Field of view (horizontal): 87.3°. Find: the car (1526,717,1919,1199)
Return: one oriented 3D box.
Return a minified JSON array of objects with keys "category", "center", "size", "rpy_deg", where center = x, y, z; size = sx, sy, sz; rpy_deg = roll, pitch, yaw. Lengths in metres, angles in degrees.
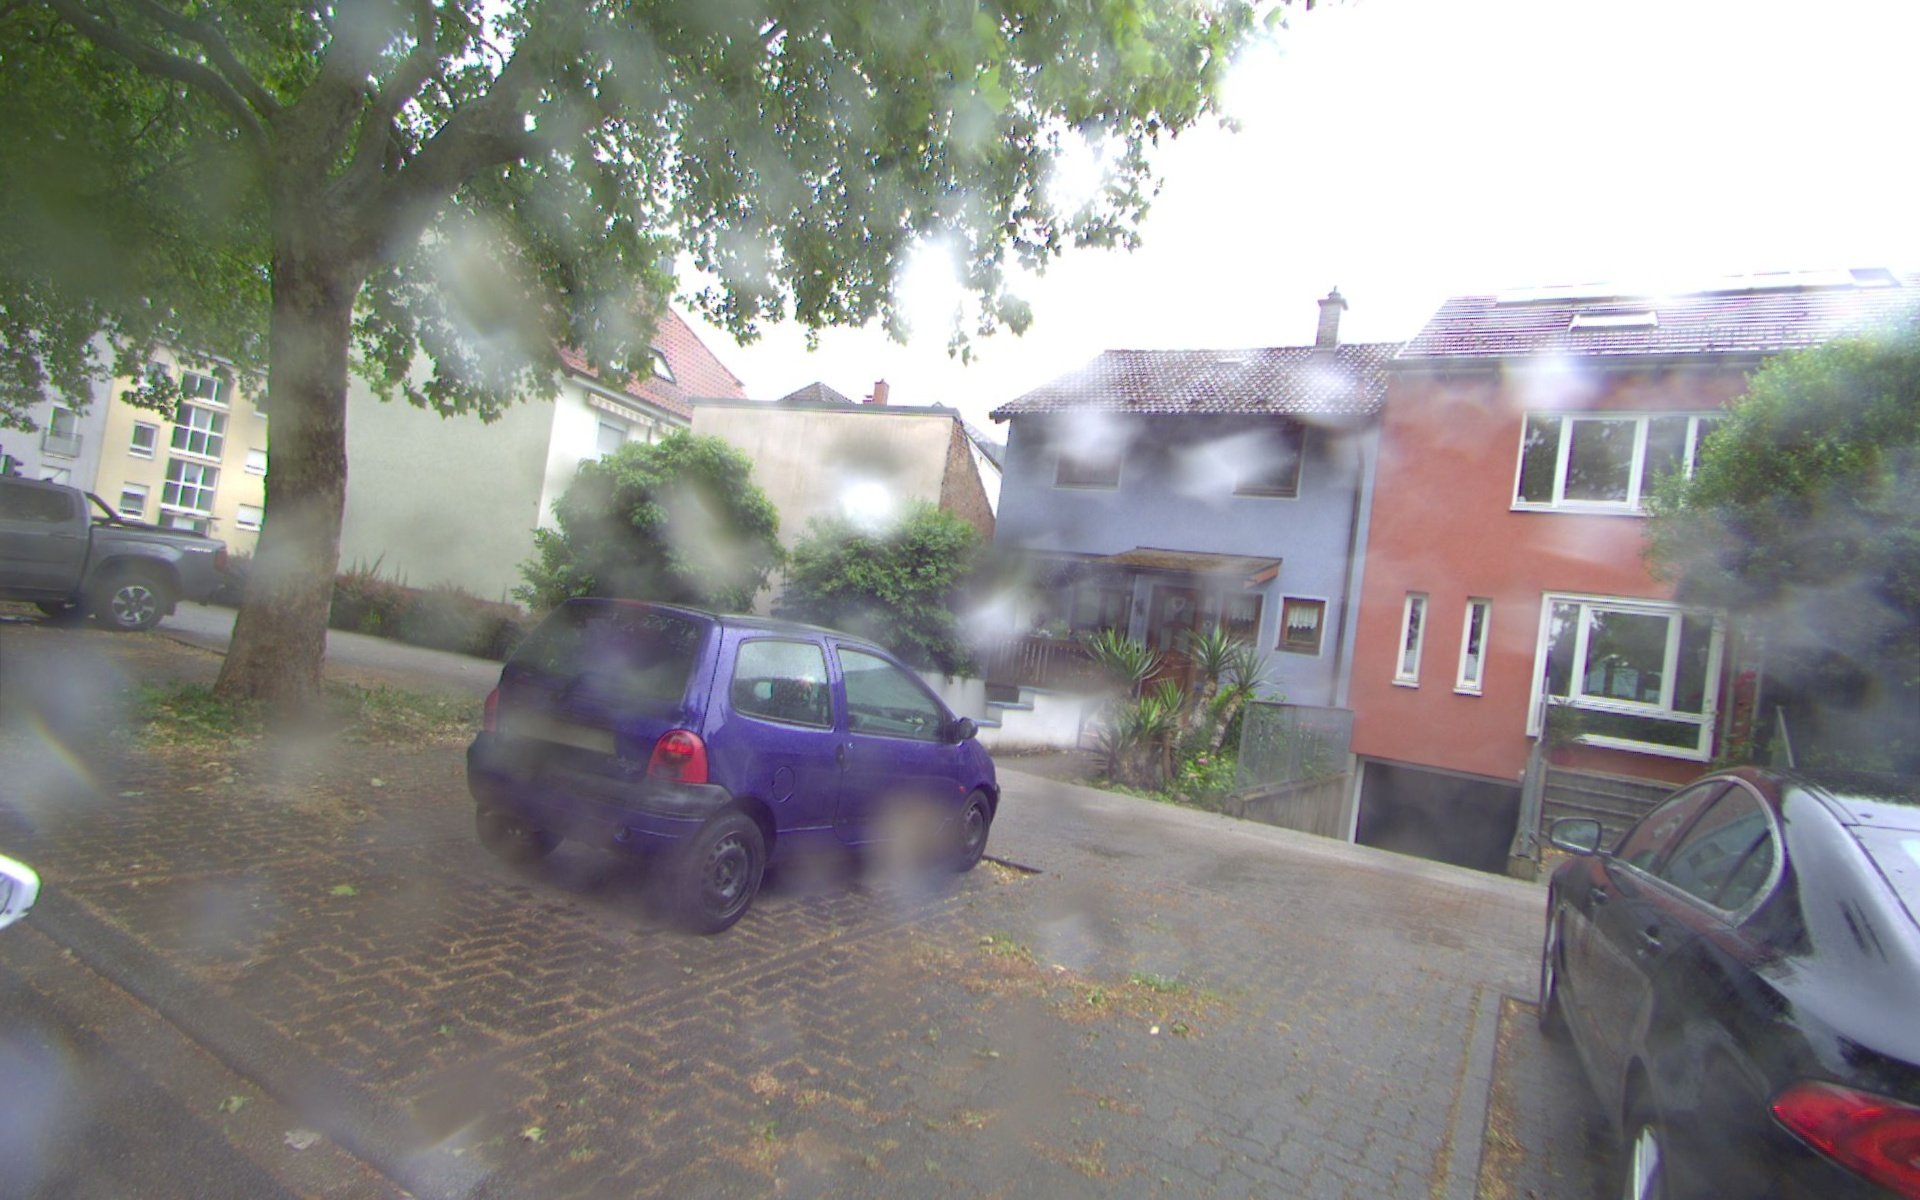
[{"category":"car","center":[2.977,1.263,2.978],"size":[1.904,1.490,4.780],"rpy_deg":[7,-2,27]}]

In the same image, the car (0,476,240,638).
[{"category":"car","center":[-12.384,-0.672,12.431],"size":[1.812,1.828,5.355],"rpy_deg":[7,-2,25]}]

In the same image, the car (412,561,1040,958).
[{"category":"car","center":[-1.046,0.812,5.928],"size":[1.591,1.480,3.364],"rpy_deg":[7,-2,30]}]
